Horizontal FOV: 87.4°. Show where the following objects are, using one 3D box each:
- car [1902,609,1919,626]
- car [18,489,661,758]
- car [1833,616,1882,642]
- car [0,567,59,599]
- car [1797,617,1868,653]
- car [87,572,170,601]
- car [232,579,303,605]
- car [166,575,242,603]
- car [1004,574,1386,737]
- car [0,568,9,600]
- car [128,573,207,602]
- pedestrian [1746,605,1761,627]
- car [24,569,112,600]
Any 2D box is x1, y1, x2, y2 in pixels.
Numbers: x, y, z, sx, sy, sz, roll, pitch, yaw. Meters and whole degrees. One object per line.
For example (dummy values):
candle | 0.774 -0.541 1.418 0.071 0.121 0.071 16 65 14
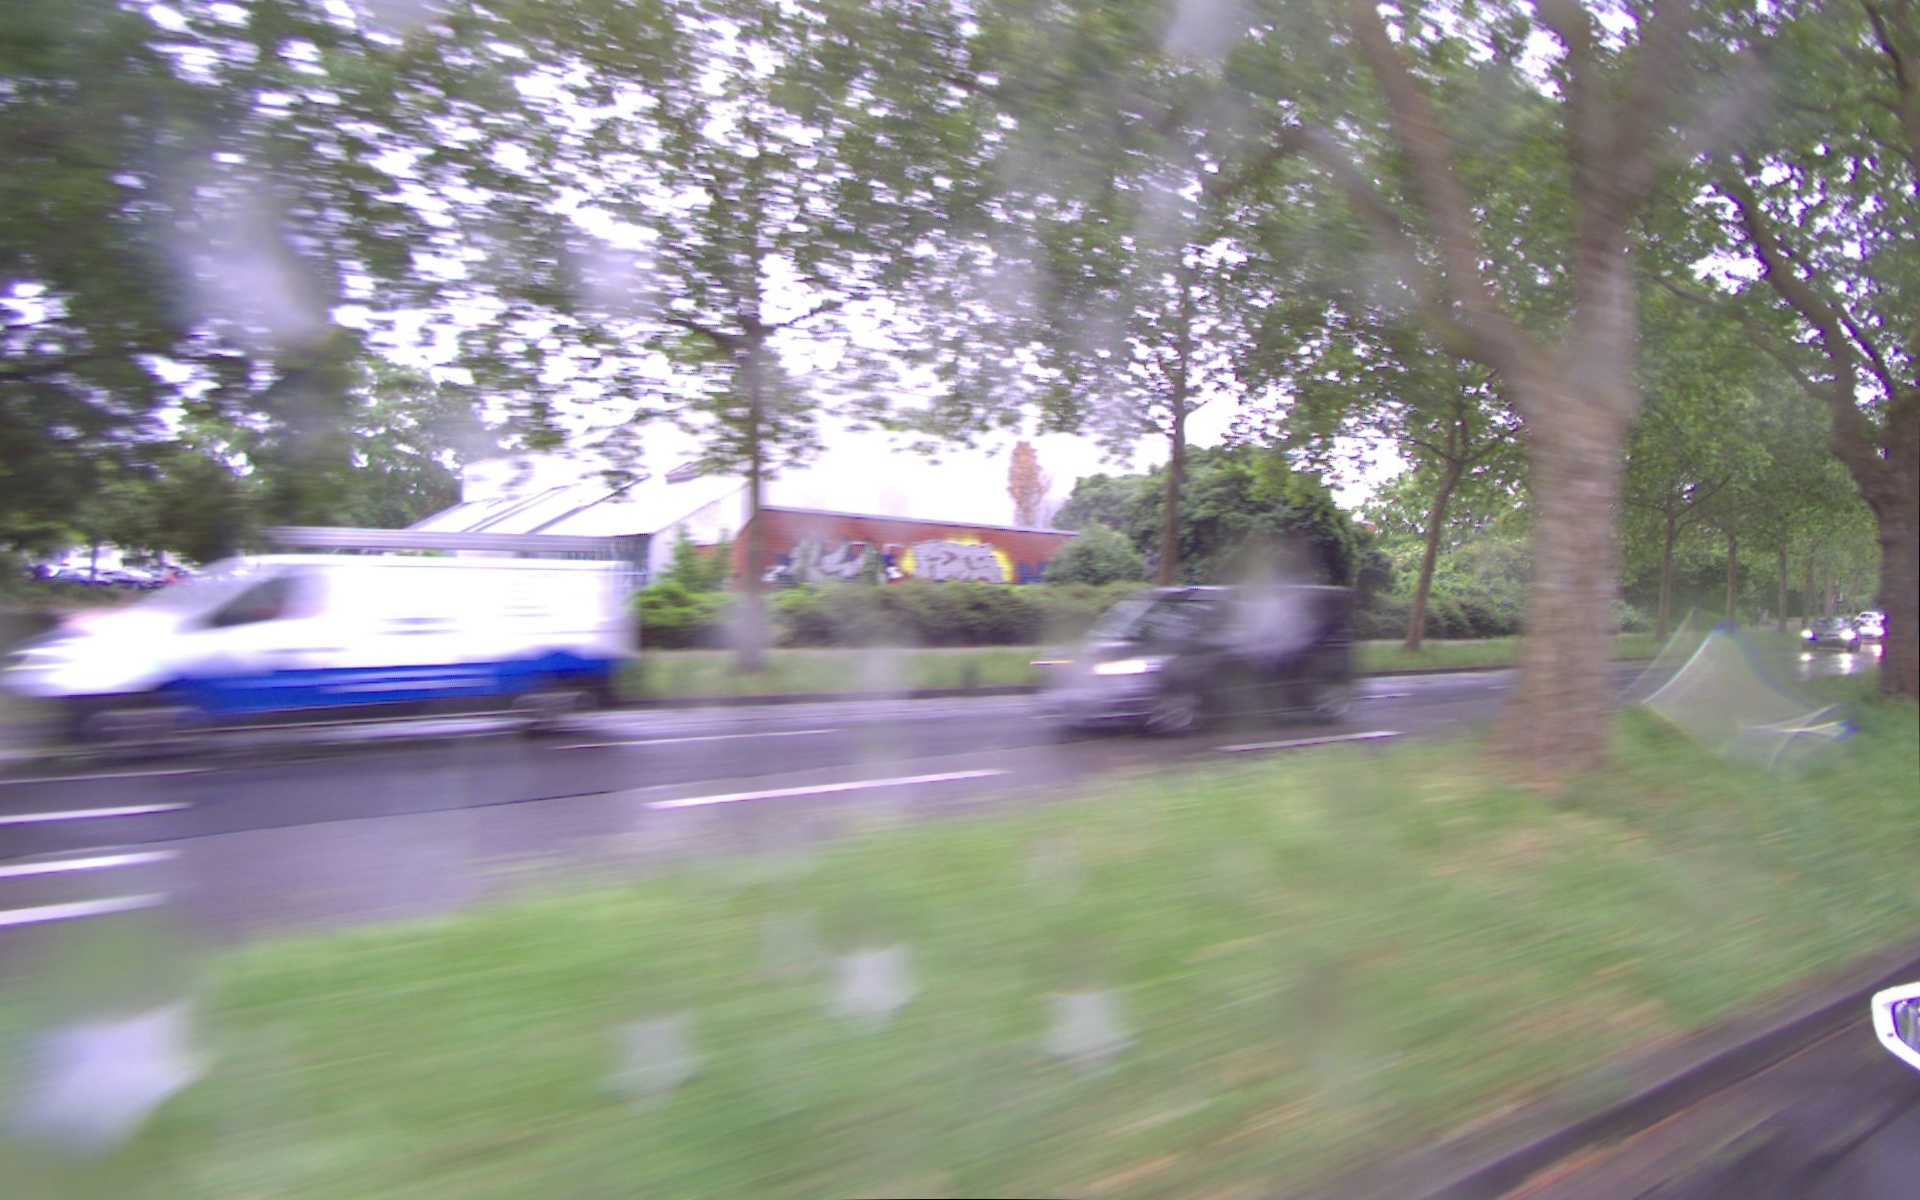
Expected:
car | 85.625 1.559 89.899 1.723 1.496 4.388 1 0 41
car | -6.192 0.225 10.763 5.377 2.256 2.018 1 0 -34
car | 54.064 1.713 60.491 3.812 1.479 1.728 1 0 -41
car | -60.126 -1.113 63.739 4.407 1.927 2.001 2 1 7
car | 41.064 1.610 47.242 4.330 1.582 1.730 1 0 -38
car | -58.233 -0.951 70.381 4.407 1.927 2.114 2 1 11
car | -55.116 -0.608 79.967 4.407 1.927 2.001 2 1 7
car | -57.030 -0.836 75.786 4.407 1.927 2.001 2 1 7
car | 3.151 0.623 13.033 4.902 1.759 2.018 1 0 -34
car | -61.008 -1.026 61.261 4.407 1.927 2.001 2 1 7
car | -57.841 -0.899 73.382 4.407 1.927 2.001 2 1 7
pedestrian | 62.498 1.285 79.137 0.821 1.696 0.894 1 0 43
car | -59.537 -1.044 67.090 4.407 1.927 2.001 2 1 7
